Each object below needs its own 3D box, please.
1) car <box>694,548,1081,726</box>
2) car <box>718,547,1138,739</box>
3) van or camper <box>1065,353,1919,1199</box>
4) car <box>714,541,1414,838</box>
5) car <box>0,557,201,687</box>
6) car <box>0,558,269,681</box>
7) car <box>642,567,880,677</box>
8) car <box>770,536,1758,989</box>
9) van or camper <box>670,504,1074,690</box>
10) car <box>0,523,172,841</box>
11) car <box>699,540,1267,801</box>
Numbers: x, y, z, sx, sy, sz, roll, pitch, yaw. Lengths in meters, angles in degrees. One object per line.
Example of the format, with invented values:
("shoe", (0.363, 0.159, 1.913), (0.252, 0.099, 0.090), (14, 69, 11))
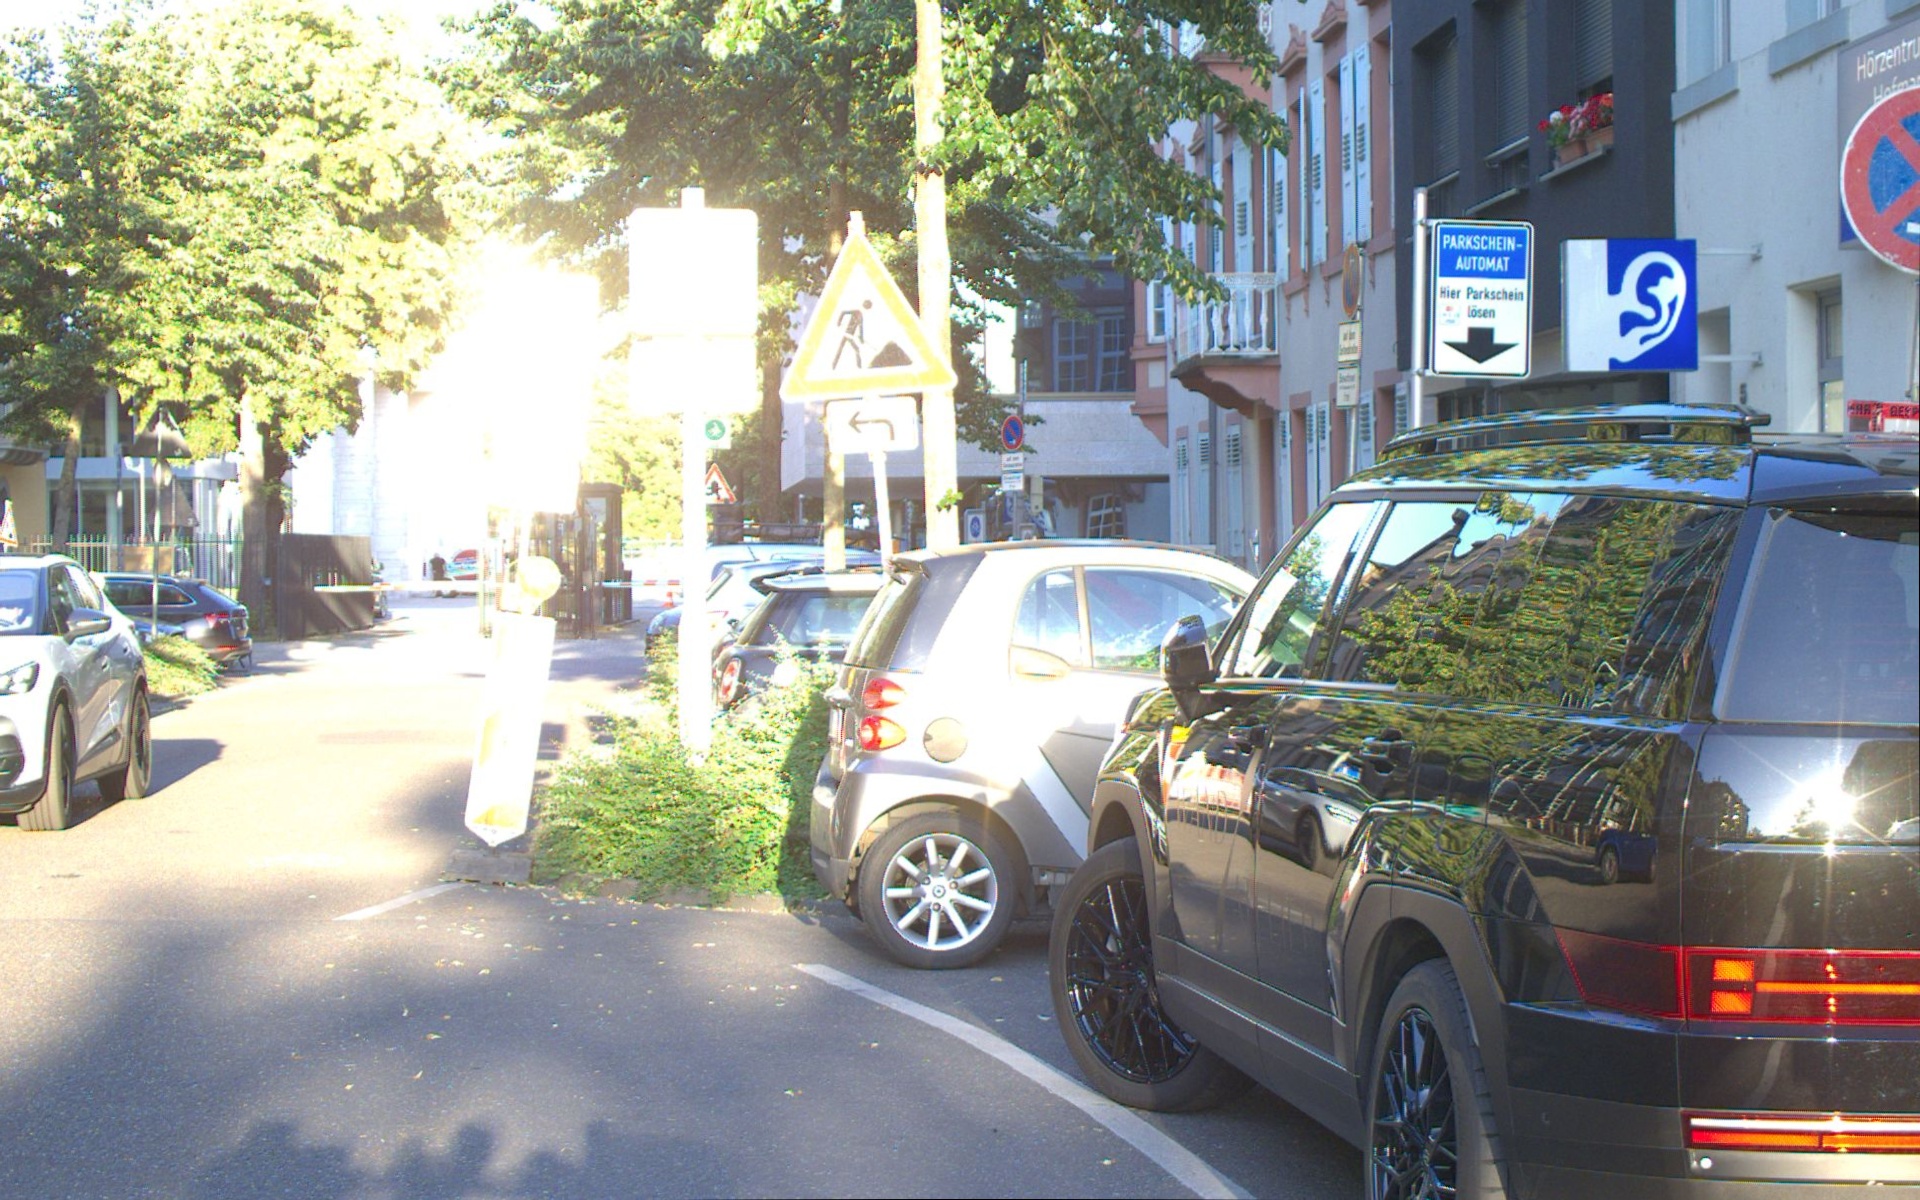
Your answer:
("car", (-0.759, 0.350, 33.960), (3.684, 1.664, 1.859), (1, 1, -5))
("car", (-0.340, 0.376, 31.498), (3.684, 1.664, 1.859), (1, 1, -5))
("van or camper", (1.561, 0.503, 7.430), (1.889, 1.801, 4.462), (0, 1, -9))
("car", (0.552, 0.511, 20.716), (3.994, 1.664, 1.859), (1, 1, -5))
("car", (-12.319, 0.279, 45.872), (3.987, 1.678, 1.891), (0, 1, -1))
("car", (-11.944, 0.261, 48.573), (3.987, 1.678, 1.891), (0, 1, -1))
("car", (-2.977, 0.310, 52.024), (1.855, 1.563, 3.691), (1, 1, 30))
("car", (1.109, 0.554, 13.151), (3.469, 1.570, 1.508), (-1, 1, -12))
("van or camper", (-1.045, -0.037, 39.007), (4.439, 1.999, 1.859), (1, 1, -5))
("car", (-6.000, 0.451, 20.488), (1.872, 1.692, 4.322), (-3, 1, -5))
("car", (0.095, 0.459, 23.455), (3.684, 1.664, 1.859), (1, 1, -5))
